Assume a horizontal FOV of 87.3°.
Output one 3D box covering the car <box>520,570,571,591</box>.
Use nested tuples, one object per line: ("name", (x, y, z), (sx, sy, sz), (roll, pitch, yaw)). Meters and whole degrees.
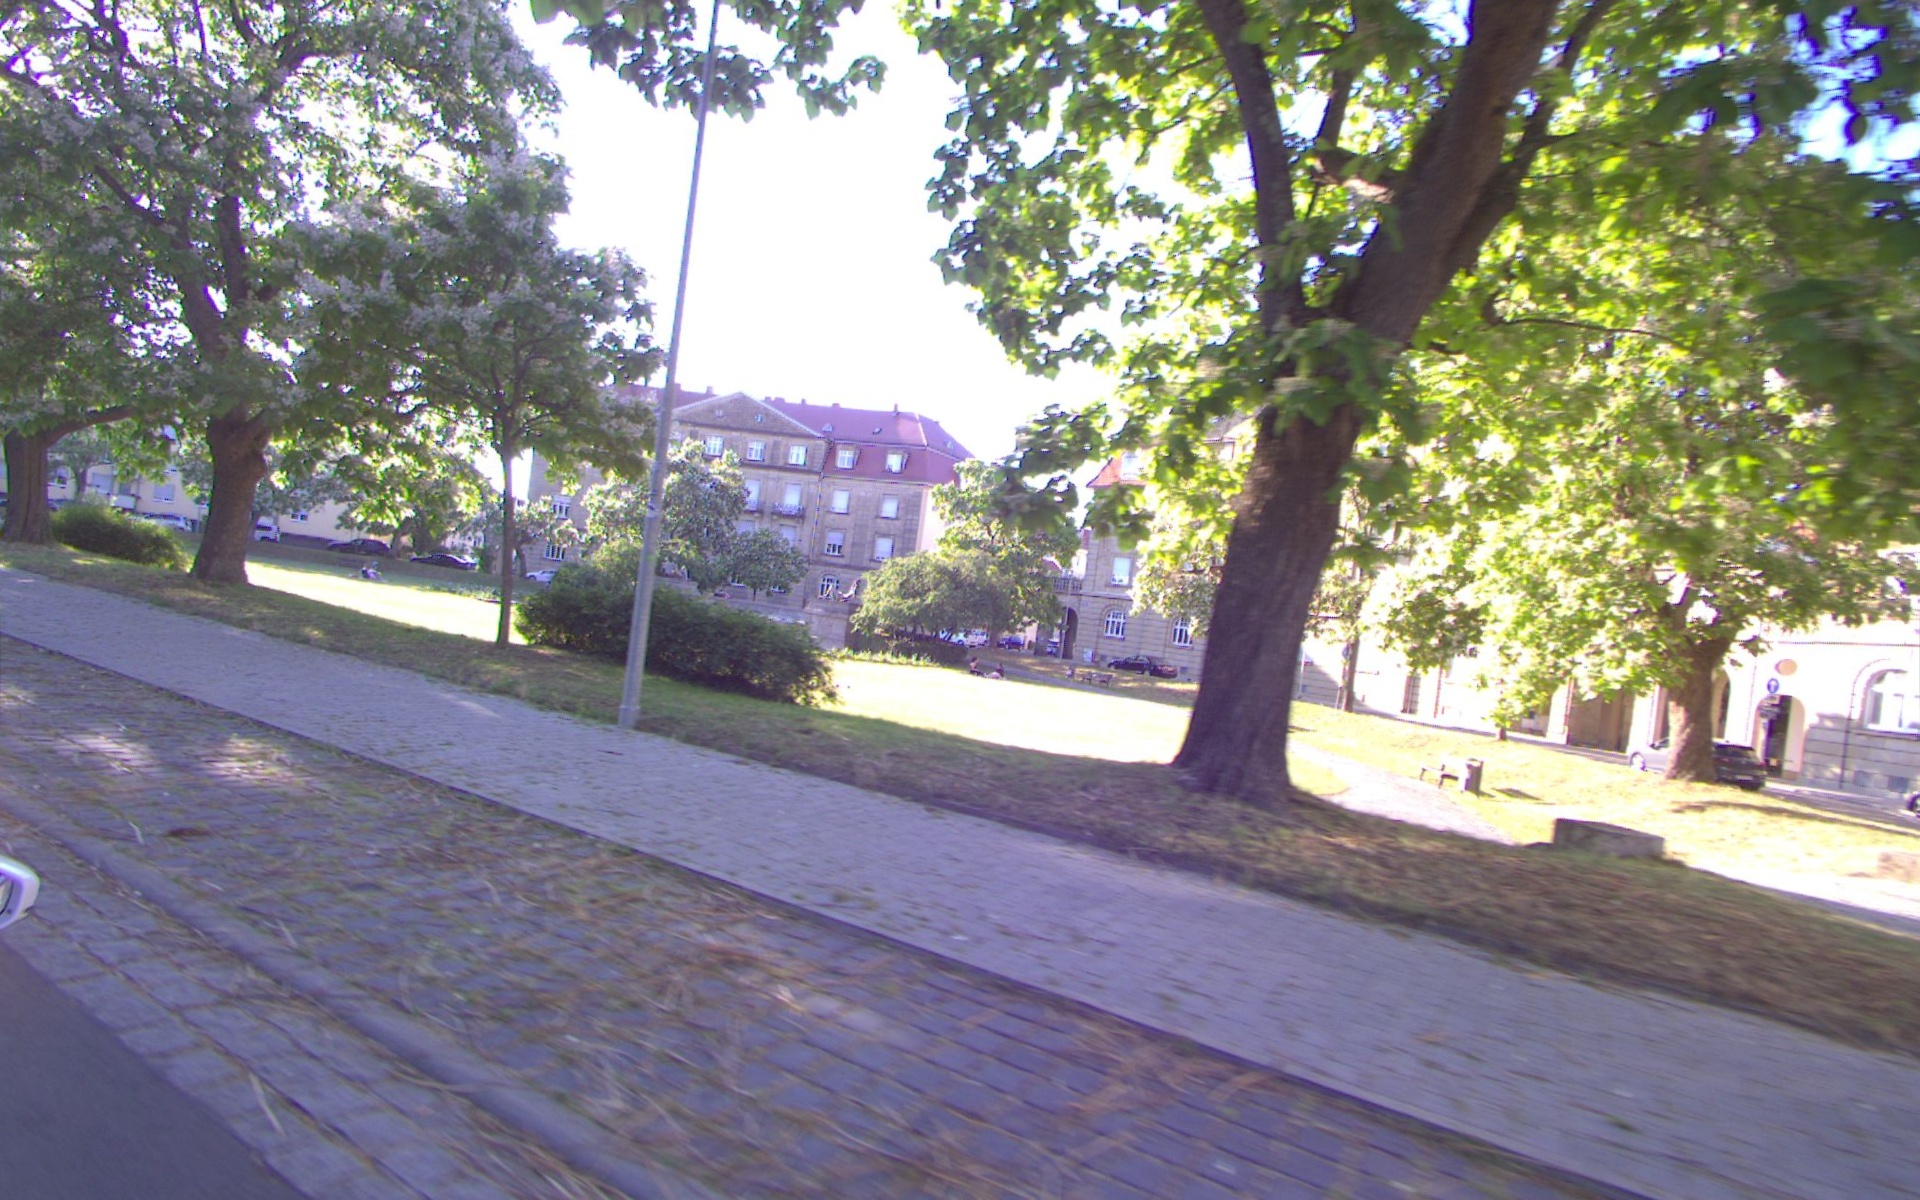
("car", (-39.010, -1.824, 94.700), (3.926, 1.470, 1.881), (7, -1, 1))

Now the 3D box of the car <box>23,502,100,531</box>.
("car", (-73.267, -6.824, 82.118), (4.493, 1.588, 1.860), (8, -2, -40))

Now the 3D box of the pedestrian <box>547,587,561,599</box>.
("pedestrian", (-31.410, -0.528, 77.834), (0.655, 0.803, 0.587), (7, -1, 21))

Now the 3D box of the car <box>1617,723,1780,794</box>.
("car", (22.507, 4.787, 30.906), (1.785, 1.434, 4.374), (7, -2, 2))

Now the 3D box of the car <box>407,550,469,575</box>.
("car", (-45.551, -3.275, 87.921), (4.291, 1.470, 1.879), (7, -1, -6))

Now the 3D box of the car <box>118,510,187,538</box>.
("car", (-64.511, -6.081, 80.465), (3.959, 1.570, 1.598), (8, -1, -31))

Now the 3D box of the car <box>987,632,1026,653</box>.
("car", (4.535, 4.118, 97.652), (1.790, 1.642, 4.219), (6, -2, 33))

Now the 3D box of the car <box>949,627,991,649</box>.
("car", (0.940, 3.505, 92.325), (1.790, 1.642, 4.219), (6, -2, 33))

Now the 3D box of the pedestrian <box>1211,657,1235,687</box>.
("pedestrian", (14.200, 3.893, 54.332), (0.935, 1.493, 0.681), (7, -1, 34))

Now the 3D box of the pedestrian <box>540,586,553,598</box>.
("pedestrian", (-32.098, -0.629, 78.098), (0.655, 0.803, 0.587), (7, -1, 21))

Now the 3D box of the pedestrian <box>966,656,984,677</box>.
("pedestrian", (0.735, 3.240, 49.066), (0.570, 0.891, 0.674), (8, -2, -20))

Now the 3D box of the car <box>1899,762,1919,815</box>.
("car", (28.268, 5.481, 26.927), (1.786, 1.434, 4.652), (7, -2, 1))

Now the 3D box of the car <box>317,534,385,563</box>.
("car", (-52.009, -4.382, 86.019), (4.456, 1.766, 1.875), (8, -1, -15))

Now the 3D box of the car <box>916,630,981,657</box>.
("car", (-0.901, 3.362, 77.211), (4.878, 1.434, 1.813), (6, -2, 39))

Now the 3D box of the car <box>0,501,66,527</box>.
("car", (-70.766, -6.552, 76.344), (4.176, 1.373, 1.676), (8, -2, -38))

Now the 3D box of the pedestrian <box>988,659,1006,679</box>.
("pedestrian", (1.804, 3.367, 49.191), (0.570, 0.891, 0.674), (8, -2, -20))

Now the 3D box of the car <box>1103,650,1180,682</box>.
("car", (11.487, 4.180, 64.016), (1.802, 1.434, 4.906), (8, -2, -33))

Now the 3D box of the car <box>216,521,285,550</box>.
("car", (-62.378, -5.636, 88.518), (4.468, 1.766, 1.870), (8, -1, -24))

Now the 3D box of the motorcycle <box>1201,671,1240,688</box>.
("motorcycle", (14.074, 4.282, 54.389), (1.829, 0.678, 0.681), (6, -1, 34))

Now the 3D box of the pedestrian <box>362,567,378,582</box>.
("pedestrian", (-35.998, -1.558, 61.373), (0.578, 0.803, 0.666), (7, -1, -11))

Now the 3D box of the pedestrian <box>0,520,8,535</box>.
("pedestrian", (-57.038, -4.334, 59.753), (0.602, 0.822, 0.473), (7, -2, 33))

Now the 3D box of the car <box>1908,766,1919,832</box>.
("car", (21.614, 4.384, 20.073), (1.537, 1.434, 4.443), (7, -2, 8))

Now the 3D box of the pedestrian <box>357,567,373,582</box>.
("pedestrian", (-35.812, -1.535, 60.579), (0.578, 0.803, 0.666), (7, -1, -11))

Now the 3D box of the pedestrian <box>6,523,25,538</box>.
("pedestrian", (-57.205, -4.208, 60.916), (0.712, 0.822, 0.612), (7, -2, 33))

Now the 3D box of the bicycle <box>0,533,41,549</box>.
("bicycle", (-55.230, -3.459, 58.916), (1.755, 0.622, 1.796), (9, -2, -34))
